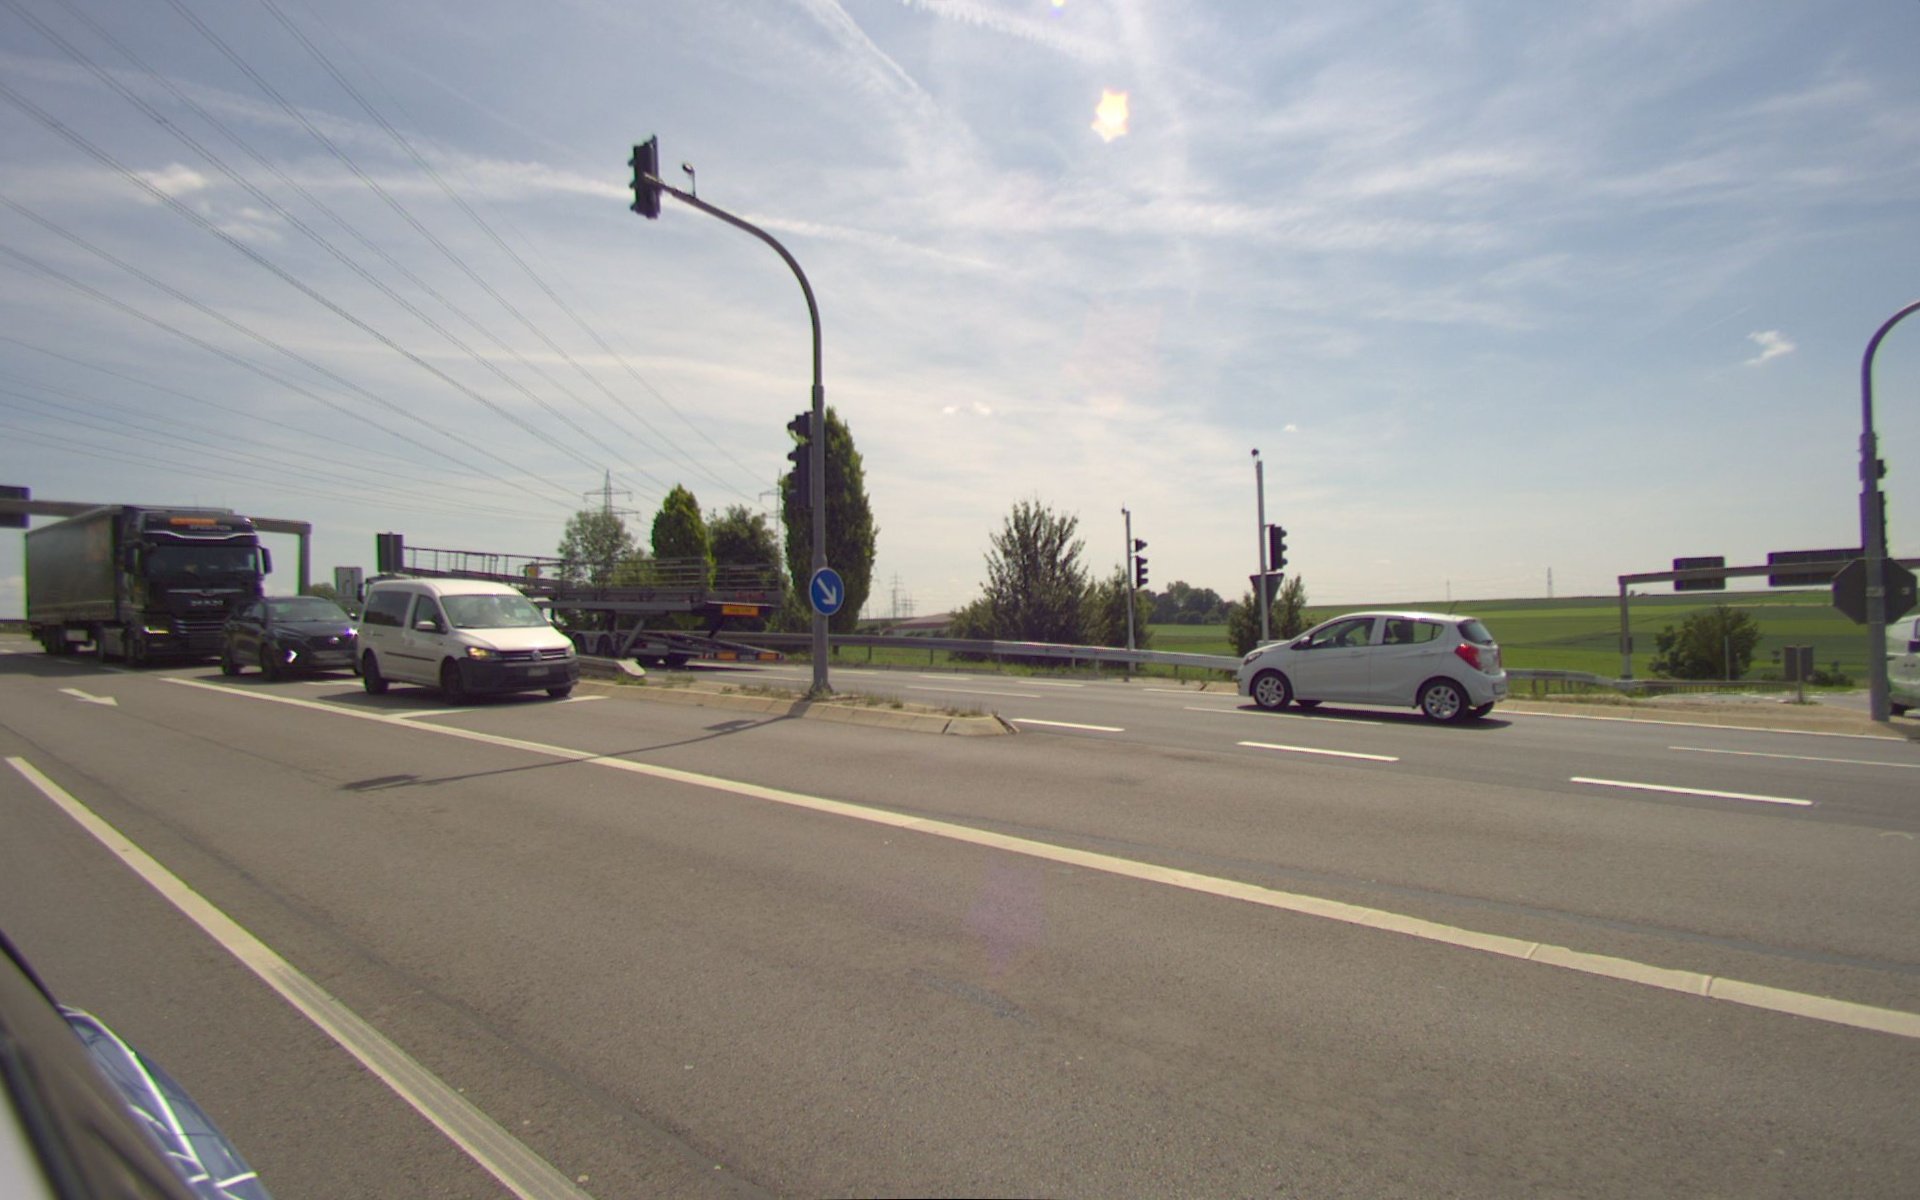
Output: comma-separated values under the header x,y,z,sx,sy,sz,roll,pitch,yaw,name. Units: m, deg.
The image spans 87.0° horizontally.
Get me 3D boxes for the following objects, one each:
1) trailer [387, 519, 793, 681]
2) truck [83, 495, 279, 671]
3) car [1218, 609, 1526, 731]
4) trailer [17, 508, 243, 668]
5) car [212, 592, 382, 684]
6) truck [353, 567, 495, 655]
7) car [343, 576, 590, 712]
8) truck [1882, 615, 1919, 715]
x,y,z,sx,sy,sz,roll,pitch,yaw,name
-12.549,-0.002,31.297,19.790,3.792,2.611,0,0,41,trailer
-20.236,-0.383,26.174,5.966,4.043,2.755,-1,0,40,truck
5.846,0.906,14.609,3.801,1.508,1.626,0,-2,43,car
-25.345,-0.266,30.442,13.775,3.943,2.755,-1,0,40,trailer
-13.710,0.715,20.830,4.346,1.670,1.837,-1,0,41,car
-20.067,0.380,37.778,5.987,3.036,2.770,0,0,41,truck
-7.815,0.599,15.793,4.749,1.812,1.749,-1,0,41,car
17.994,1.161,17.657,1.994,1.770,5.222,0,-2,33,truck
